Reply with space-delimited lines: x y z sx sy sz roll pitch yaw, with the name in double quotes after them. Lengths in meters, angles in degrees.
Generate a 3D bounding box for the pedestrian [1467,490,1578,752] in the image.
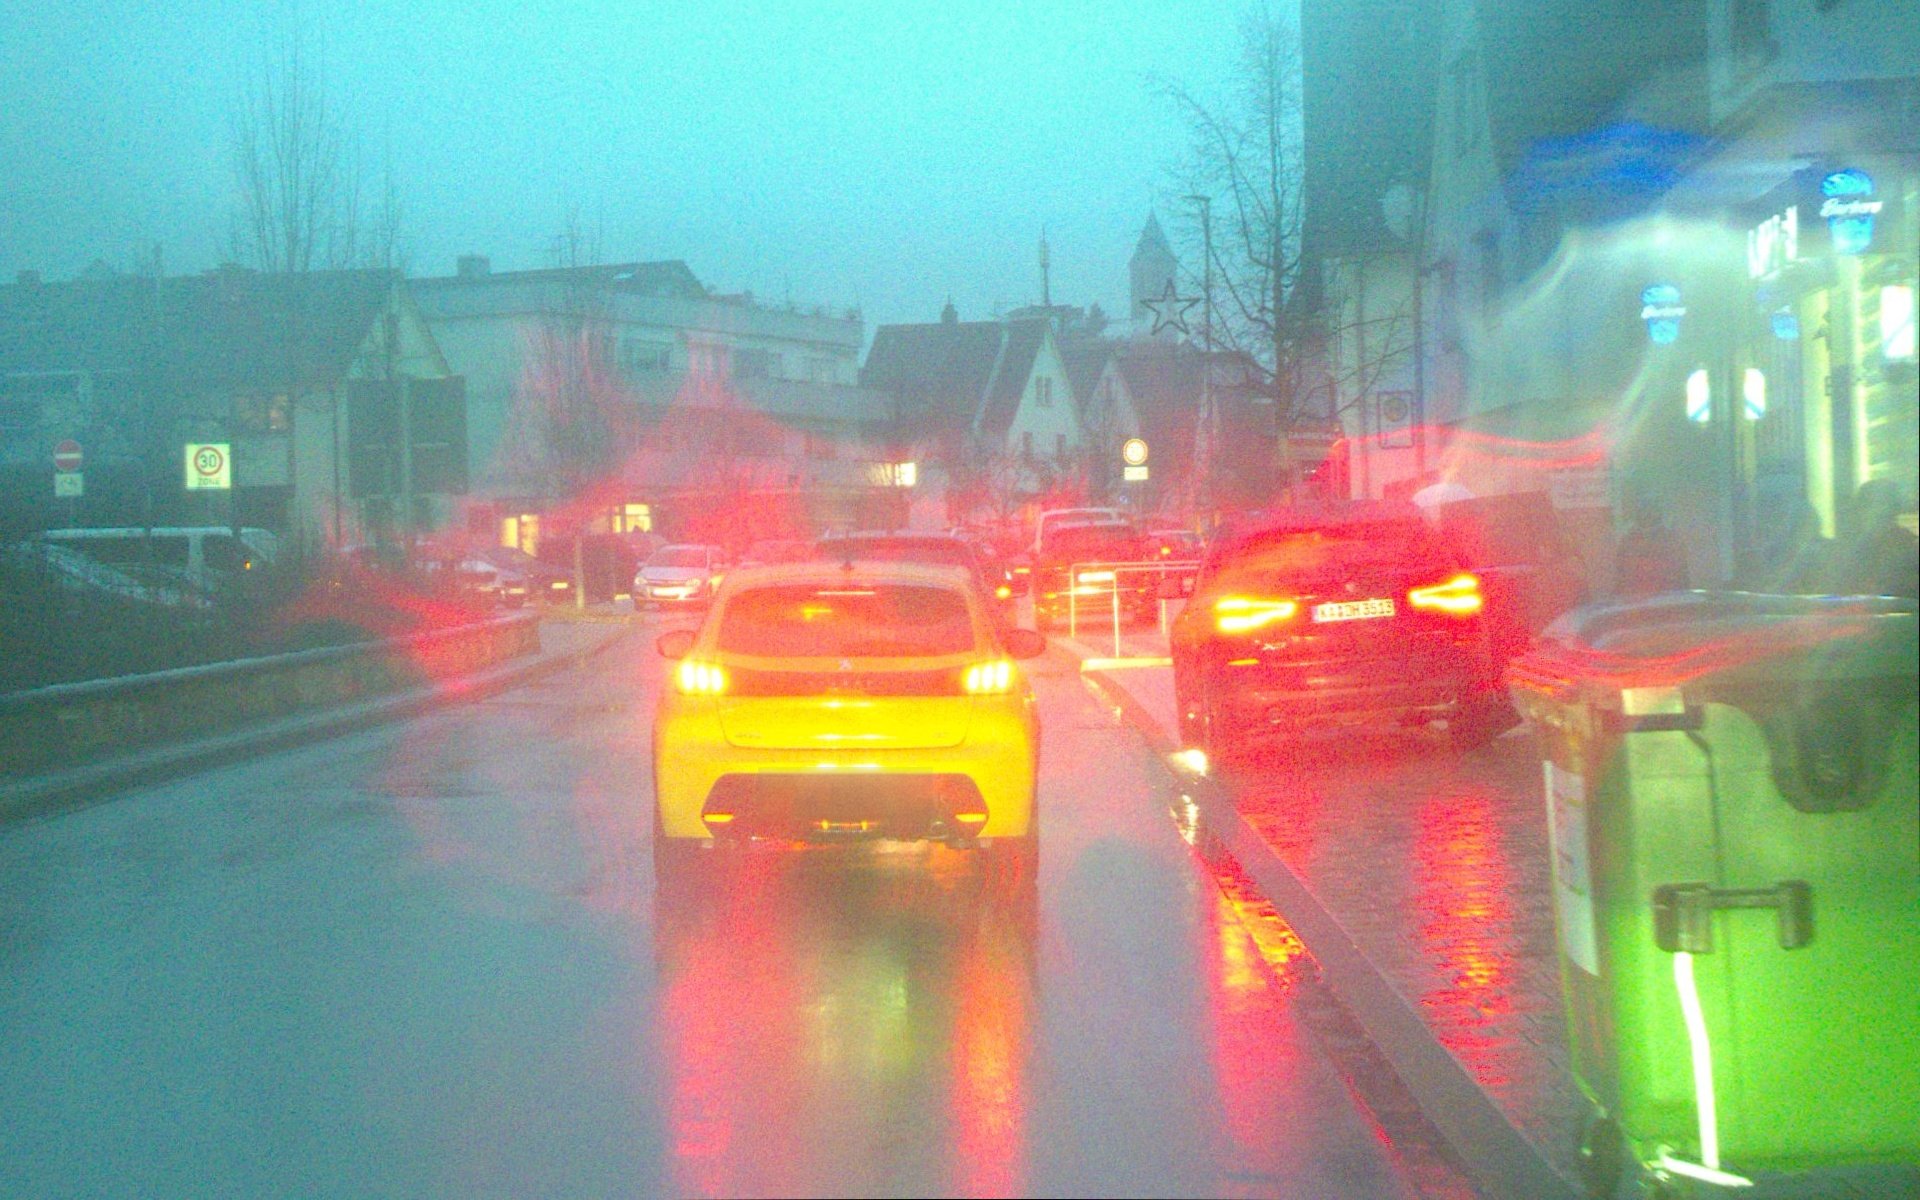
3.736 0.137 22.853 0.573 1.694 0.653 -2 0 1 "pedestrian"

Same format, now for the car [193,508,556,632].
-9.283 -0.478 54.543 5.399 1.811 1.711 1 0 13 "car"

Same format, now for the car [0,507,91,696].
-10.419 0.010 31.164 4.625 1.662 2.000 0 0 -2 "car"

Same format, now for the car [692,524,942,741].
-1.094 0.216 27.904 1.766 1.623 3.586 1 1 2 "car"

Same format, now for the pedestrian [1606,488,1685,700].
5.614 -0.044 28.153 0.618 1.721 0.501 0 -2 12 "pedestrian"

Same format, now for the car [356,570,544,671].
-11.762 0.487 79.105 4.383 2.244 1.995 -1 -2 44 "car"

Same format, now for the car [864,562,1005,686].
-0.292 0.242 39.448 1.541 1.327 3.311 1 1 0 "car"

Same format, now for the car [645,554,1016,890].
-0.559 0.498 16.141 1.563 1.408 3.018 1 1 0 "car"

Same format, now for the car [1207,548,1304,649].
6.869 -0.002 80.369 1.993 2.241 3.999 1 -1 1 "car"

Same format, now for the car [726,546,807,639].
-4.832 -0.151 86.358 1.919 2.208 3.975 1 -1 -2 "car"

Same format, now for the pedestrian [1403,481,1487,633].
4.892 -0.443 34.705 0.618 1.510 0.734 -1 2 -13 "pedestrian"

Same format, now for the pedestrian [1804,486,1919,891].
3.791 0.343 14.322 0.480 1.625 1.018 -2 1 13 "pedestrian"

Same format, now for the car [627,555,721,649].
-6.492 0.078 78.378 1.919 2.021 3.975 1 -1 -2 "car"

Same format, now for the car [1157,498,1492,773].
2.392 0.199 23.559 1.735 1.686 4.386 -1 1 -1 "car"

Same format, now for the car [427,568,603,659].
-11.027 0.360 85.086 4.383 2.159 1.995 -1 -2 44 "car"

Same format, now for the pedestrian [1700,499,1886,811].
4.460 0.275 18.452 0.618 1.621 0.907 -1 2 -13 "pedestrian"

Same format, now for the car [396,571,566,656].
-11.516 0.343 82.519 4.166 1.969 1.818 -1 -2 44 "car"

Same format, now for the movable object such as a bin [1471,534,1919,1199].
1.771 0.605 7.265 1.129 1.415 1.417 -4 1 2 "movable object such as a bin"

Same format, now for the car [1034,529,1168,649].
2.231 -0.175 55.526 1.997 1.858 4.083 0 0 0 "car"
